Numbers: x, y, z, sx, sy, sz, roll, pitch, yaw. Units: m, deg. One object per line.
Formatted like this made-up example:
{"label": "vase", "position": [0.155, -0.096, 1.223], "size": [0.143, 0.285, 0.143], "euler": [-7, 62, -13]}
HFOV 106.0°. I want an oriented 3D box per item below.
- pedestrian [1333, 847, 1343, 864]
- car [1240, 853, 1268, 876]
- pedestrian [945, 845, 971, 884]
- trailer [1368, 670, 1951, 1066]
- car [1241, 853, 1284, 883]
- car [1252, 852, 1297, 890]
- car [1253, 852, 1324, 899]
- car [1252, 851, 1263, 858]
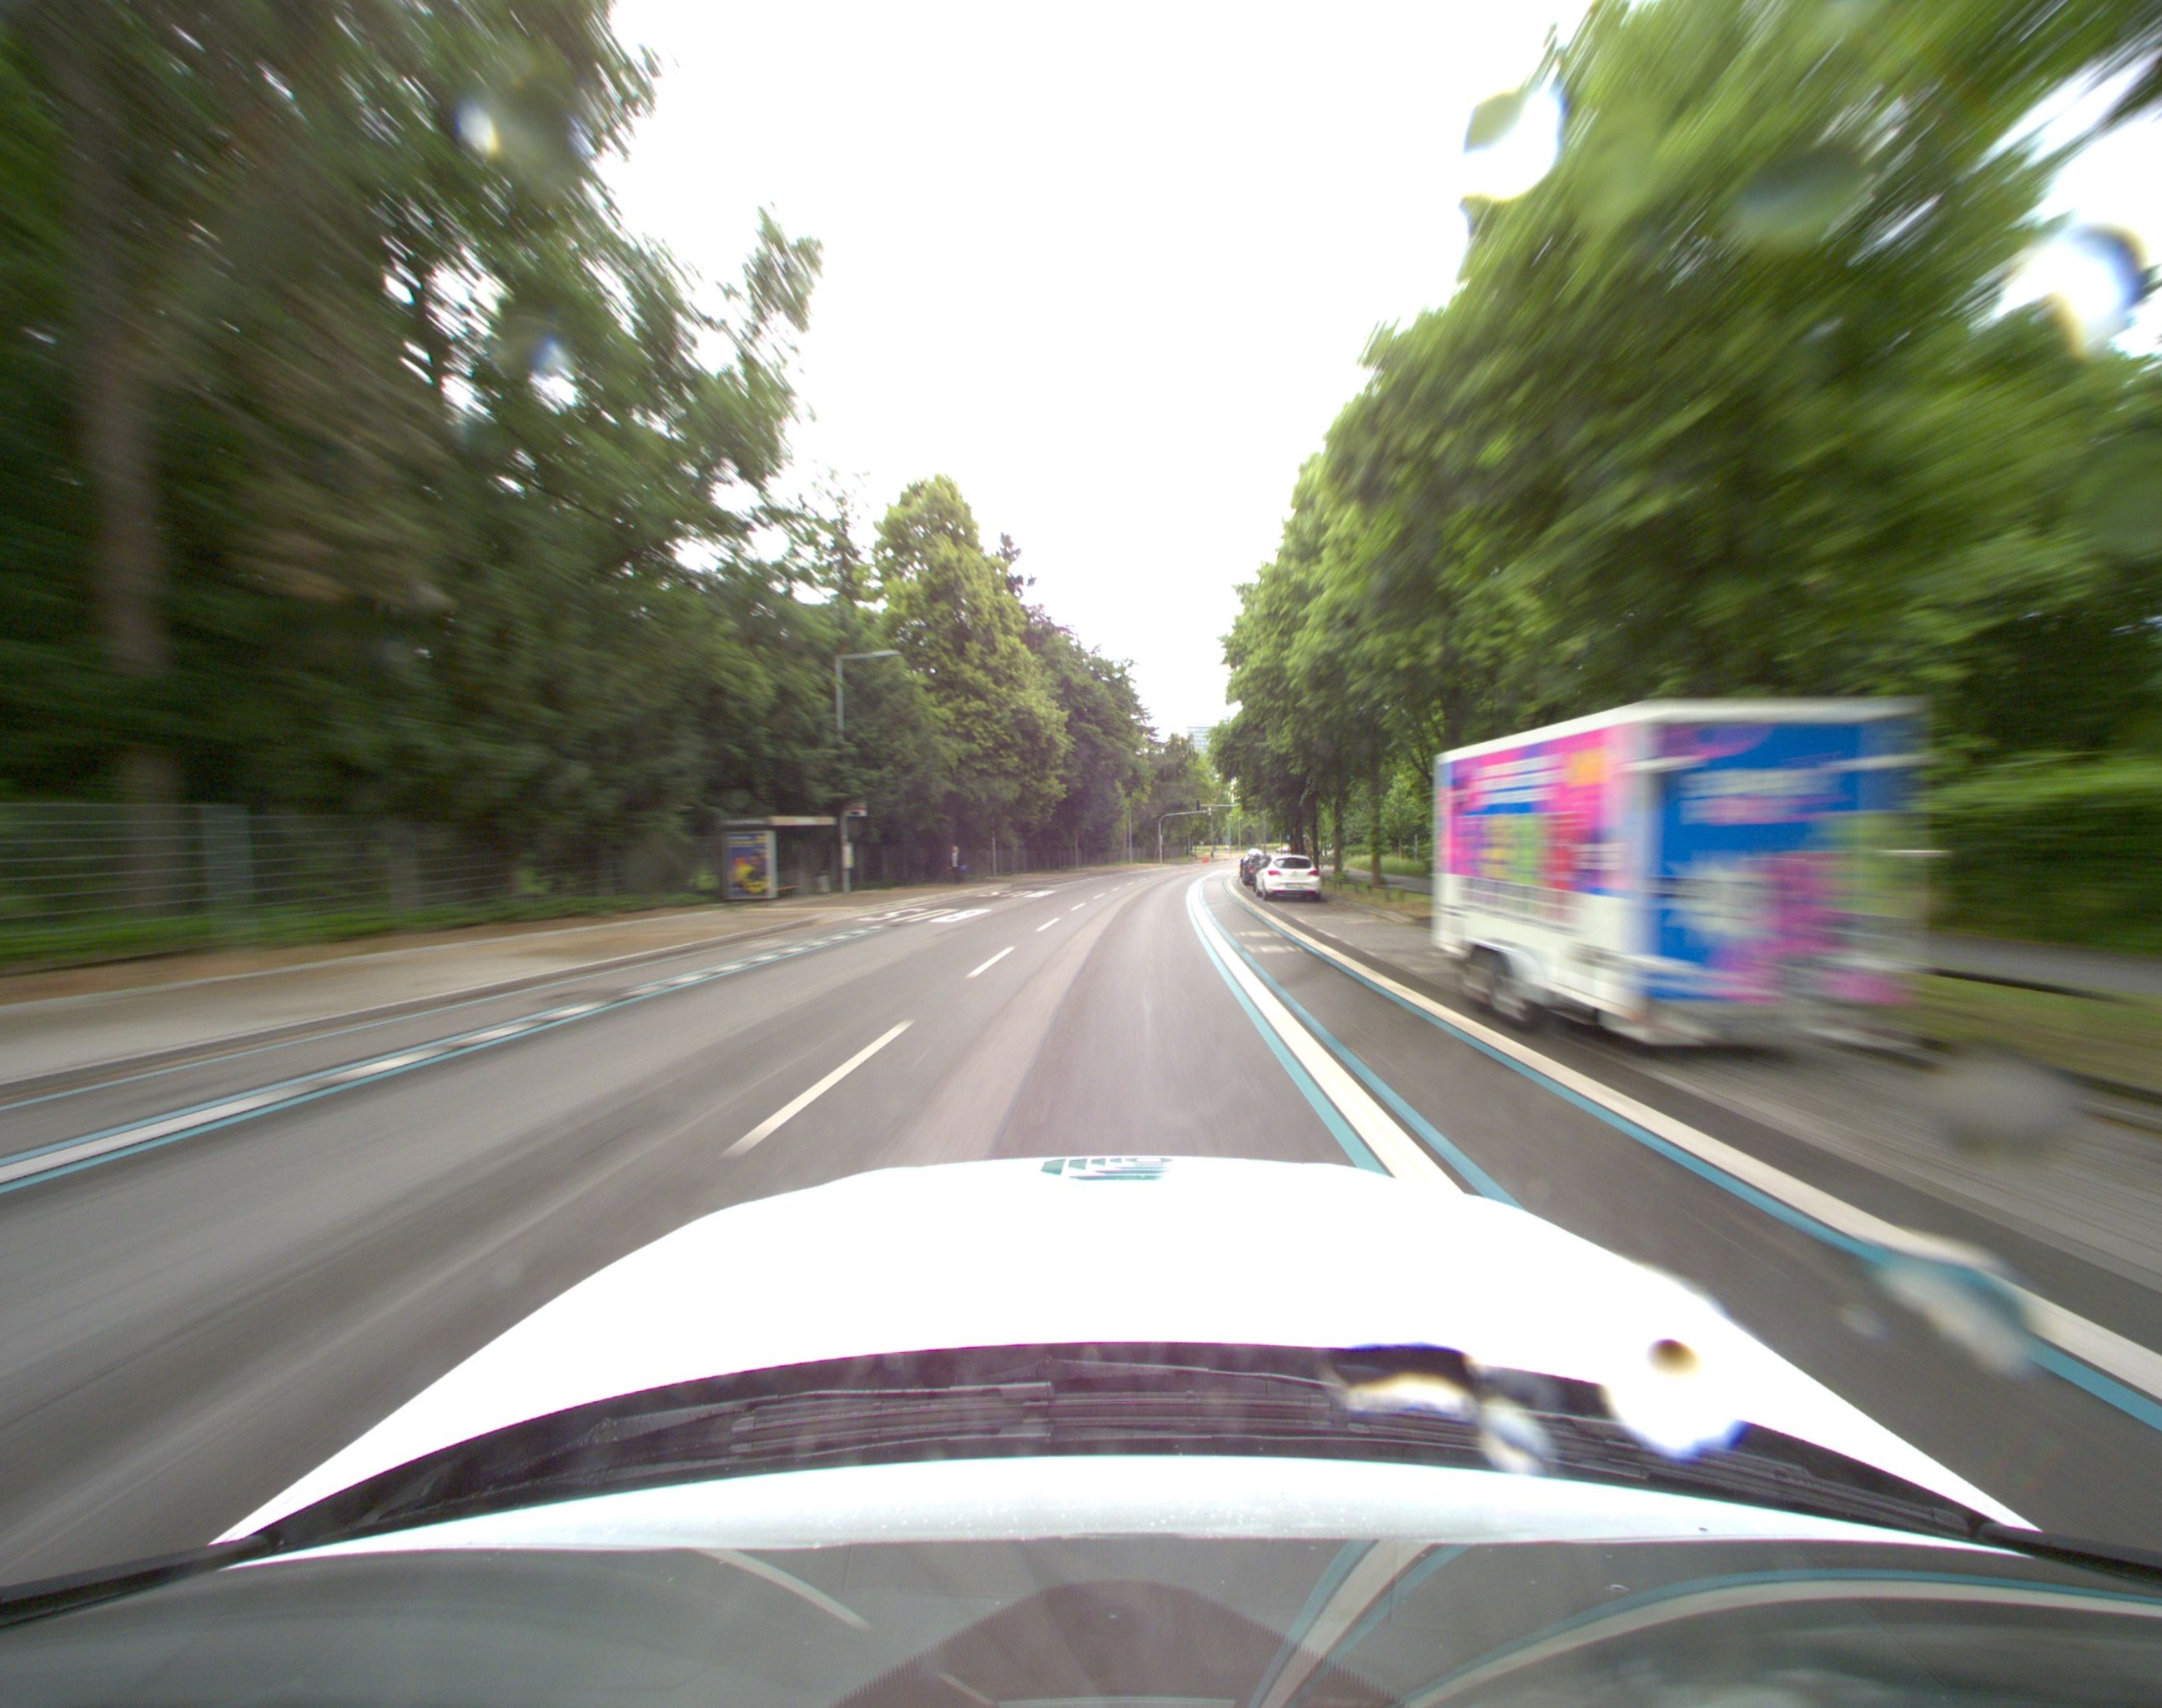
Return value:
{"label": "pedestrian", "position": [26.854, 0.122, 85.056], "size": [0.879, 1.733, 1.152], "euler": [0, 0, 21]}
{"label": "car", "position": [11.452, 0.679, 54.220], "size": [1.688, 1.420, 4.777], "euler": [1, 0, 10]}
{"label": "pedestrian", "position": [-5.550, 0.464, 36.778], "size": [0.883, 1.733, 1.147], "euler": [0, 0, 4]}
{"label": "trailer", "position": [4.863, 0.100, 8.228], "size": [2.306, 2.672, 5.381], "euler": [0, 0, 3]}
{"label": "car", "position": [8.955, 0.665, 40.468], "size": [1.771, 1.407, 4.858], "euler": [0, 0, 9]}
{"label": "car", "position": [7.905, 0.666, 33.562], "size": [1.672, 1.428, 4.331], "euler": [0, 0, 11]}
{"label": "car", "position": [6.923, 0.663, 27.578], "size": [1.849, 1.428, 4.660], "euler": [0, 0, 8]}
{"label": "car", "position": [37.915, 0.068, 175.128], "size": [1.829, 1.457, 4.521], "euler": [-1, 1, 18]}
